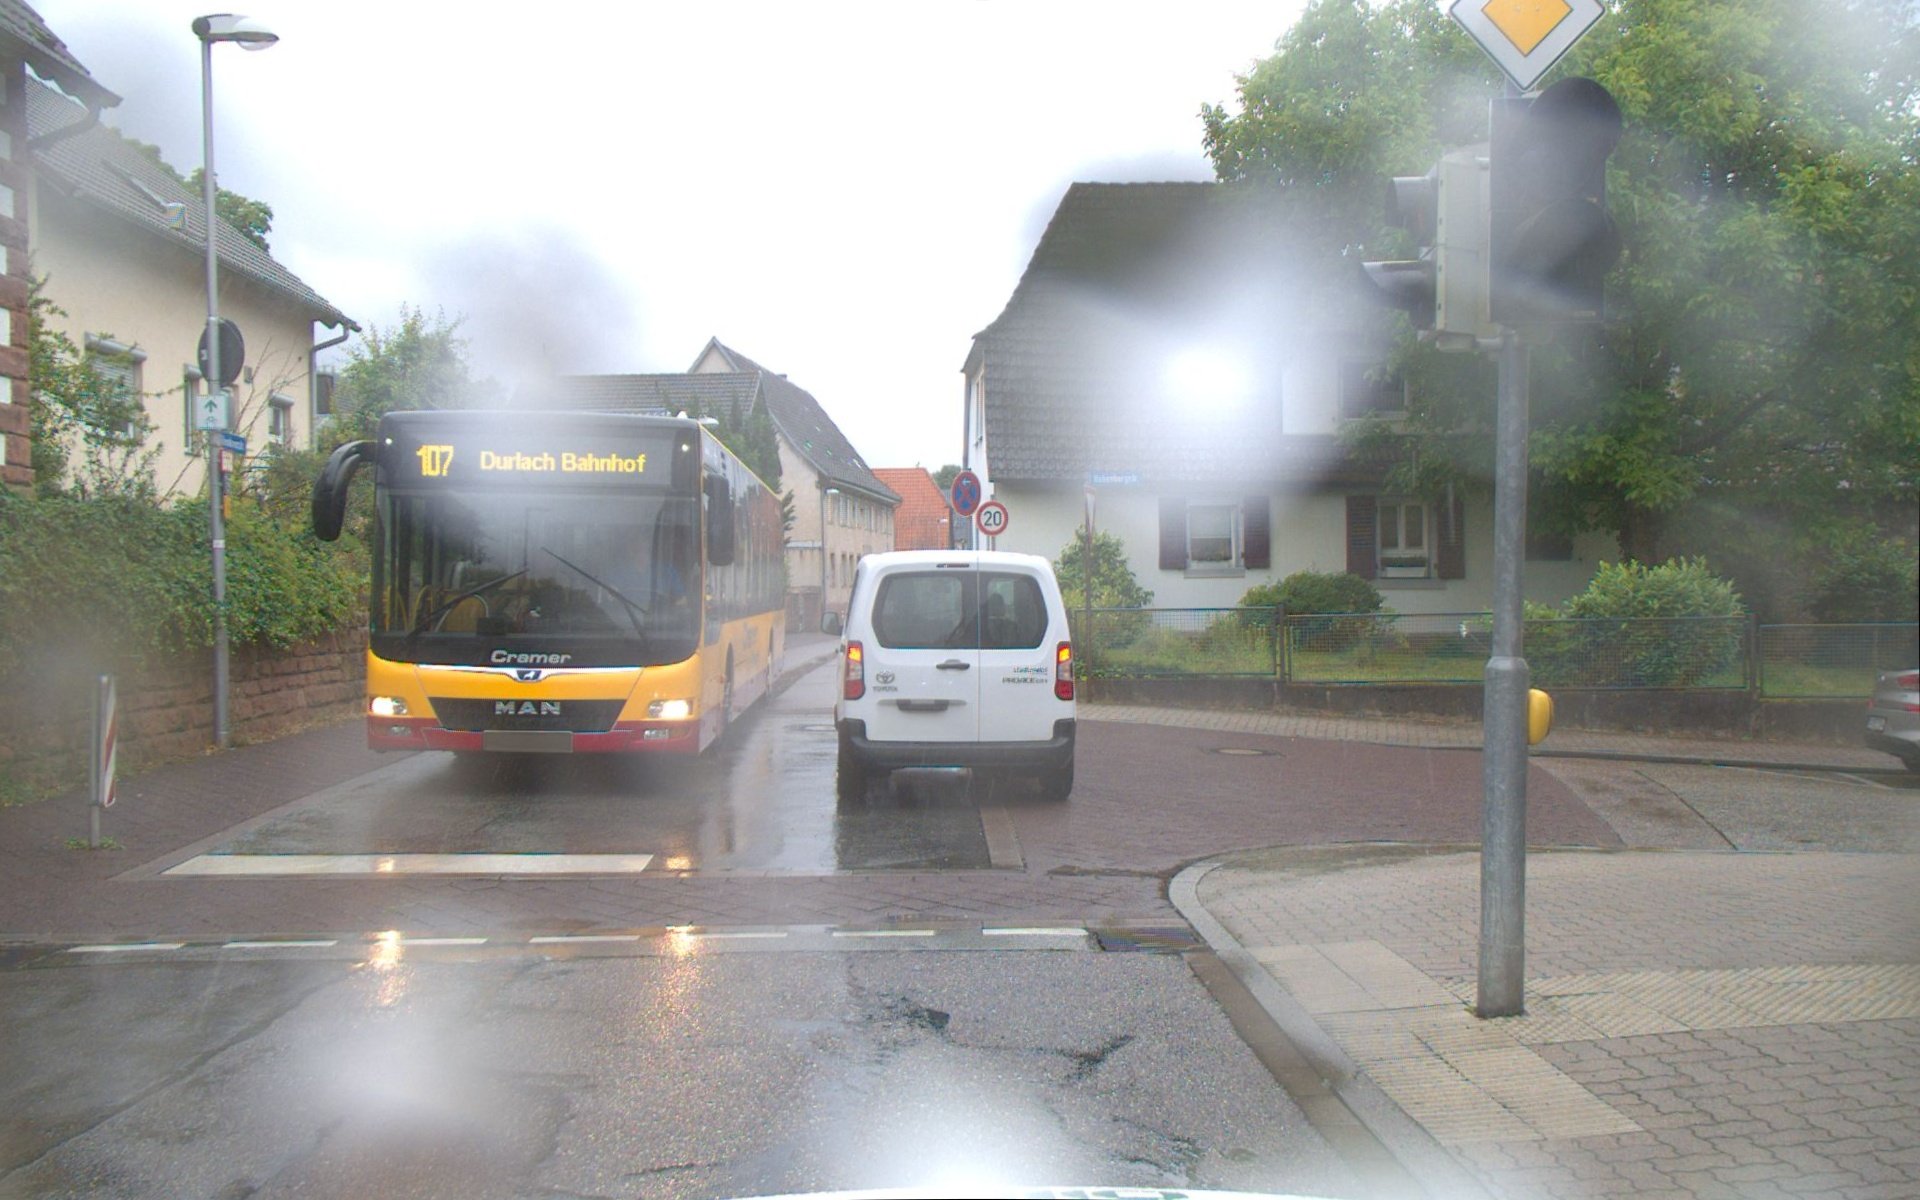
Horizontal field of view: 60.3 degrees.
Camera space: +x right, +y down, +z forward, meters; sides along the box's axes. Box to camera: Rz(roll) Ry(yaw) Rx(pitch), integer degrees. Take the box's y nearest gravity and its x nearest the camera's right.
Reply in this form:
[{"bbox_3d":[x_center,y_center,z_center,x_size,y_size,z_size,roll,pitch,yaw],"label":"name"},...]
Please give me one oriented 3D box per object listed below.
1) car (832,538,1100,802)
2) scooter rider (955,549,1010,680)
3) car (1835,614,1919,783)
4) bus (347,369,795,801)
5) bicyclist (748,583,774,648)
[{"bbox_3d":[-0.085,0.485,13.466,1.857,1.825,3.810,1,0,-4],"label":"car"},{"bbox_3d":[0.306,0.188,22.672,0.716,1.763,0.518,-1,1,0],"label":"scooter rider"},{"bbox_3d":[10.396,0.938,15.104,3.902,1.492,1.785,2,-1,14],"label":"car"},{"bbox_3d":[-3.361,-0.278,17.843,2.597,3.051,12.186,0,2,-3],"label":"bus"},{"bbox_3d":[-5.393,0.418,44.917,0.577,1.737,0.517,-2,-1,1],"label":"bicyclist"}]
